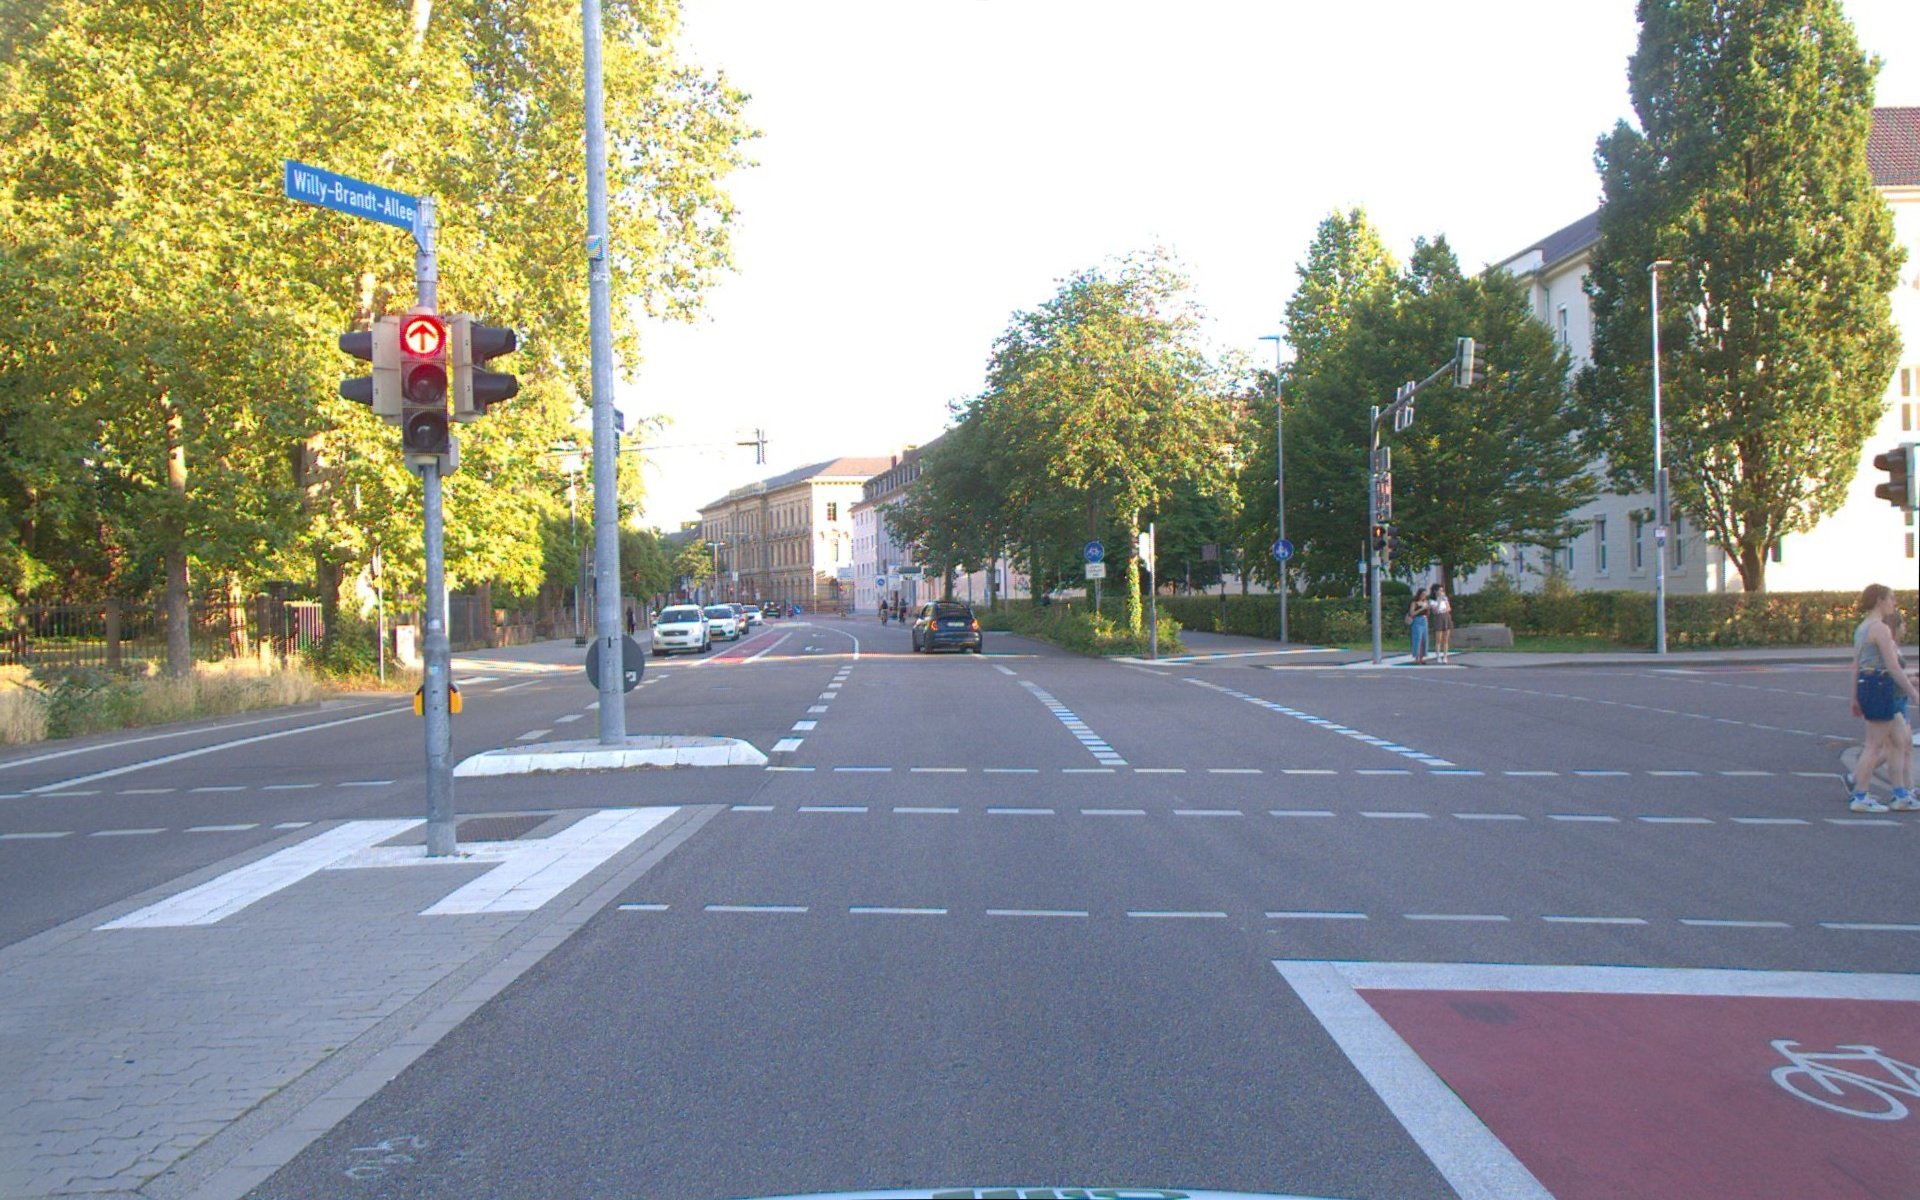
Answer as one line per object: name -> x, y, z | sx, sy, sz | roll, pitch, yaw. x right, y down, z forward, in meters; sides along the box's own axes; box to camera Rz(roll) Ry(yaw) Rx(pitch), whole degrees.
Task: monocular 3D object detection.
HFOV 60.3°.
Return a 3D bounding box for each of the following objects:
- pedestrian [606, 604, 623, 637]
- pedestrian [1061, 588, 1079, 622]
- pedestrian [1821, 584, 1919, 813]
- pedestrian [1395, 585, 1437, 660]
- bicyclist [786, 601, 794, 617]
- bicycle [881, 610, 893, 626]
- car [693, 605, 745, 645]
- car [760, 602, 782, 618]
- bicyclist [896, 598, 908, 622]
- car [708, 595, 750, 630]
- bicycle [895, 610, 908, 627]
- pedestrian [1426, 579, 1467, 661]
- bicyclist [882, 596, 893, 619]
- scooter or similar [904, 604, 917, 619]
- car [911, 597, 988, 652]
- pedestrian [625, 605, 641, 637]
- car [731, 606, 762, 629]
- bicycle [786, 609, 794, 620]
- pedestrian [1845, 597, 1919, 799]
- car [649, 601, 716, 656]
pedestrian -> -17.912, 1.058, 85.727 | 0.667, 1.650, 0.688 | -1, 0, -1
pedestrian -> 5.882, 0.275, 88.155 | 0.756, 1.769, 0.805 | -1, 0, -10
pedestrian -> 7.125, 0.728, 12.608 | 0.757, 1.689, 0.722 | -1, 0, 6
pedestrian -> 10.202, 0.496, 37.020 | 0.667, 1.650, 0.845 | -1, 0, -1
bicyclist -> -17.794, 0.940, 173.079 | 0.640, 1.727, 0.954 | 1, -1, -11
bicycle -> -4.587, 1.136, 104.362 | 0.639, 1.033, 2.195 | 1, 0, -5
car -> -10.586, 1.064, 72.828 | 1.879, 1.611, 4.669 | -3, 0, -5
car -> -19.437, 1.020, 169.727 | 1.882, 1.442, 4.758 | -3, 0, -11
bicyclist -> -3.688, 0.619, 104.968 | 0.639, 1.501, 0.939 | 1, 0, -6
car -> -12.252, 0.644, 87.855 | 1.879, 1.653, 4.634 | -3, 0, -5
bicycle -> -3.704, 1.166, 105.005 | 0.639, 1.033, 2.195 | 1, 0, -6
pedestrian -> 10.894, 0.439, 37.037 | 0.667, 1.784, 0.688 | -1, 0, -1
bicyclist -> -4.562, 0.467, 104.273 | 0.639, 1.471, 0.878 | 1, 0, -6
scooter or similar -> -4.375, 1.002, 145.265 | 0.619, 1.360, 2.391 | -1, 0, -14
car -> -0.352, 0.710, 49.561 | 1.832, 1.536, 3.994 | -1, 0, -7
pedestrian -> -16.982, 1.075, 85.830 | 0.667, 1.650, 0.688 | -1, 0, -1
car -> -15.373, 1.240, 119.254 | 1.879, 1.442, 4.765 | -3, 0, -5
bicycle -> -17.814, 1.514, 173.134 | 0.640, 1.033, 2.192 | 1, 0, -11
pedestrian -> 7.621, 0.753, 13.155 | 0.770, 1.549, 0.738 | -1, 0, 6
car -> -9.734, 0.967, 58.214 | 1.879, 1.725, 4.422 | -3, 0, -5
